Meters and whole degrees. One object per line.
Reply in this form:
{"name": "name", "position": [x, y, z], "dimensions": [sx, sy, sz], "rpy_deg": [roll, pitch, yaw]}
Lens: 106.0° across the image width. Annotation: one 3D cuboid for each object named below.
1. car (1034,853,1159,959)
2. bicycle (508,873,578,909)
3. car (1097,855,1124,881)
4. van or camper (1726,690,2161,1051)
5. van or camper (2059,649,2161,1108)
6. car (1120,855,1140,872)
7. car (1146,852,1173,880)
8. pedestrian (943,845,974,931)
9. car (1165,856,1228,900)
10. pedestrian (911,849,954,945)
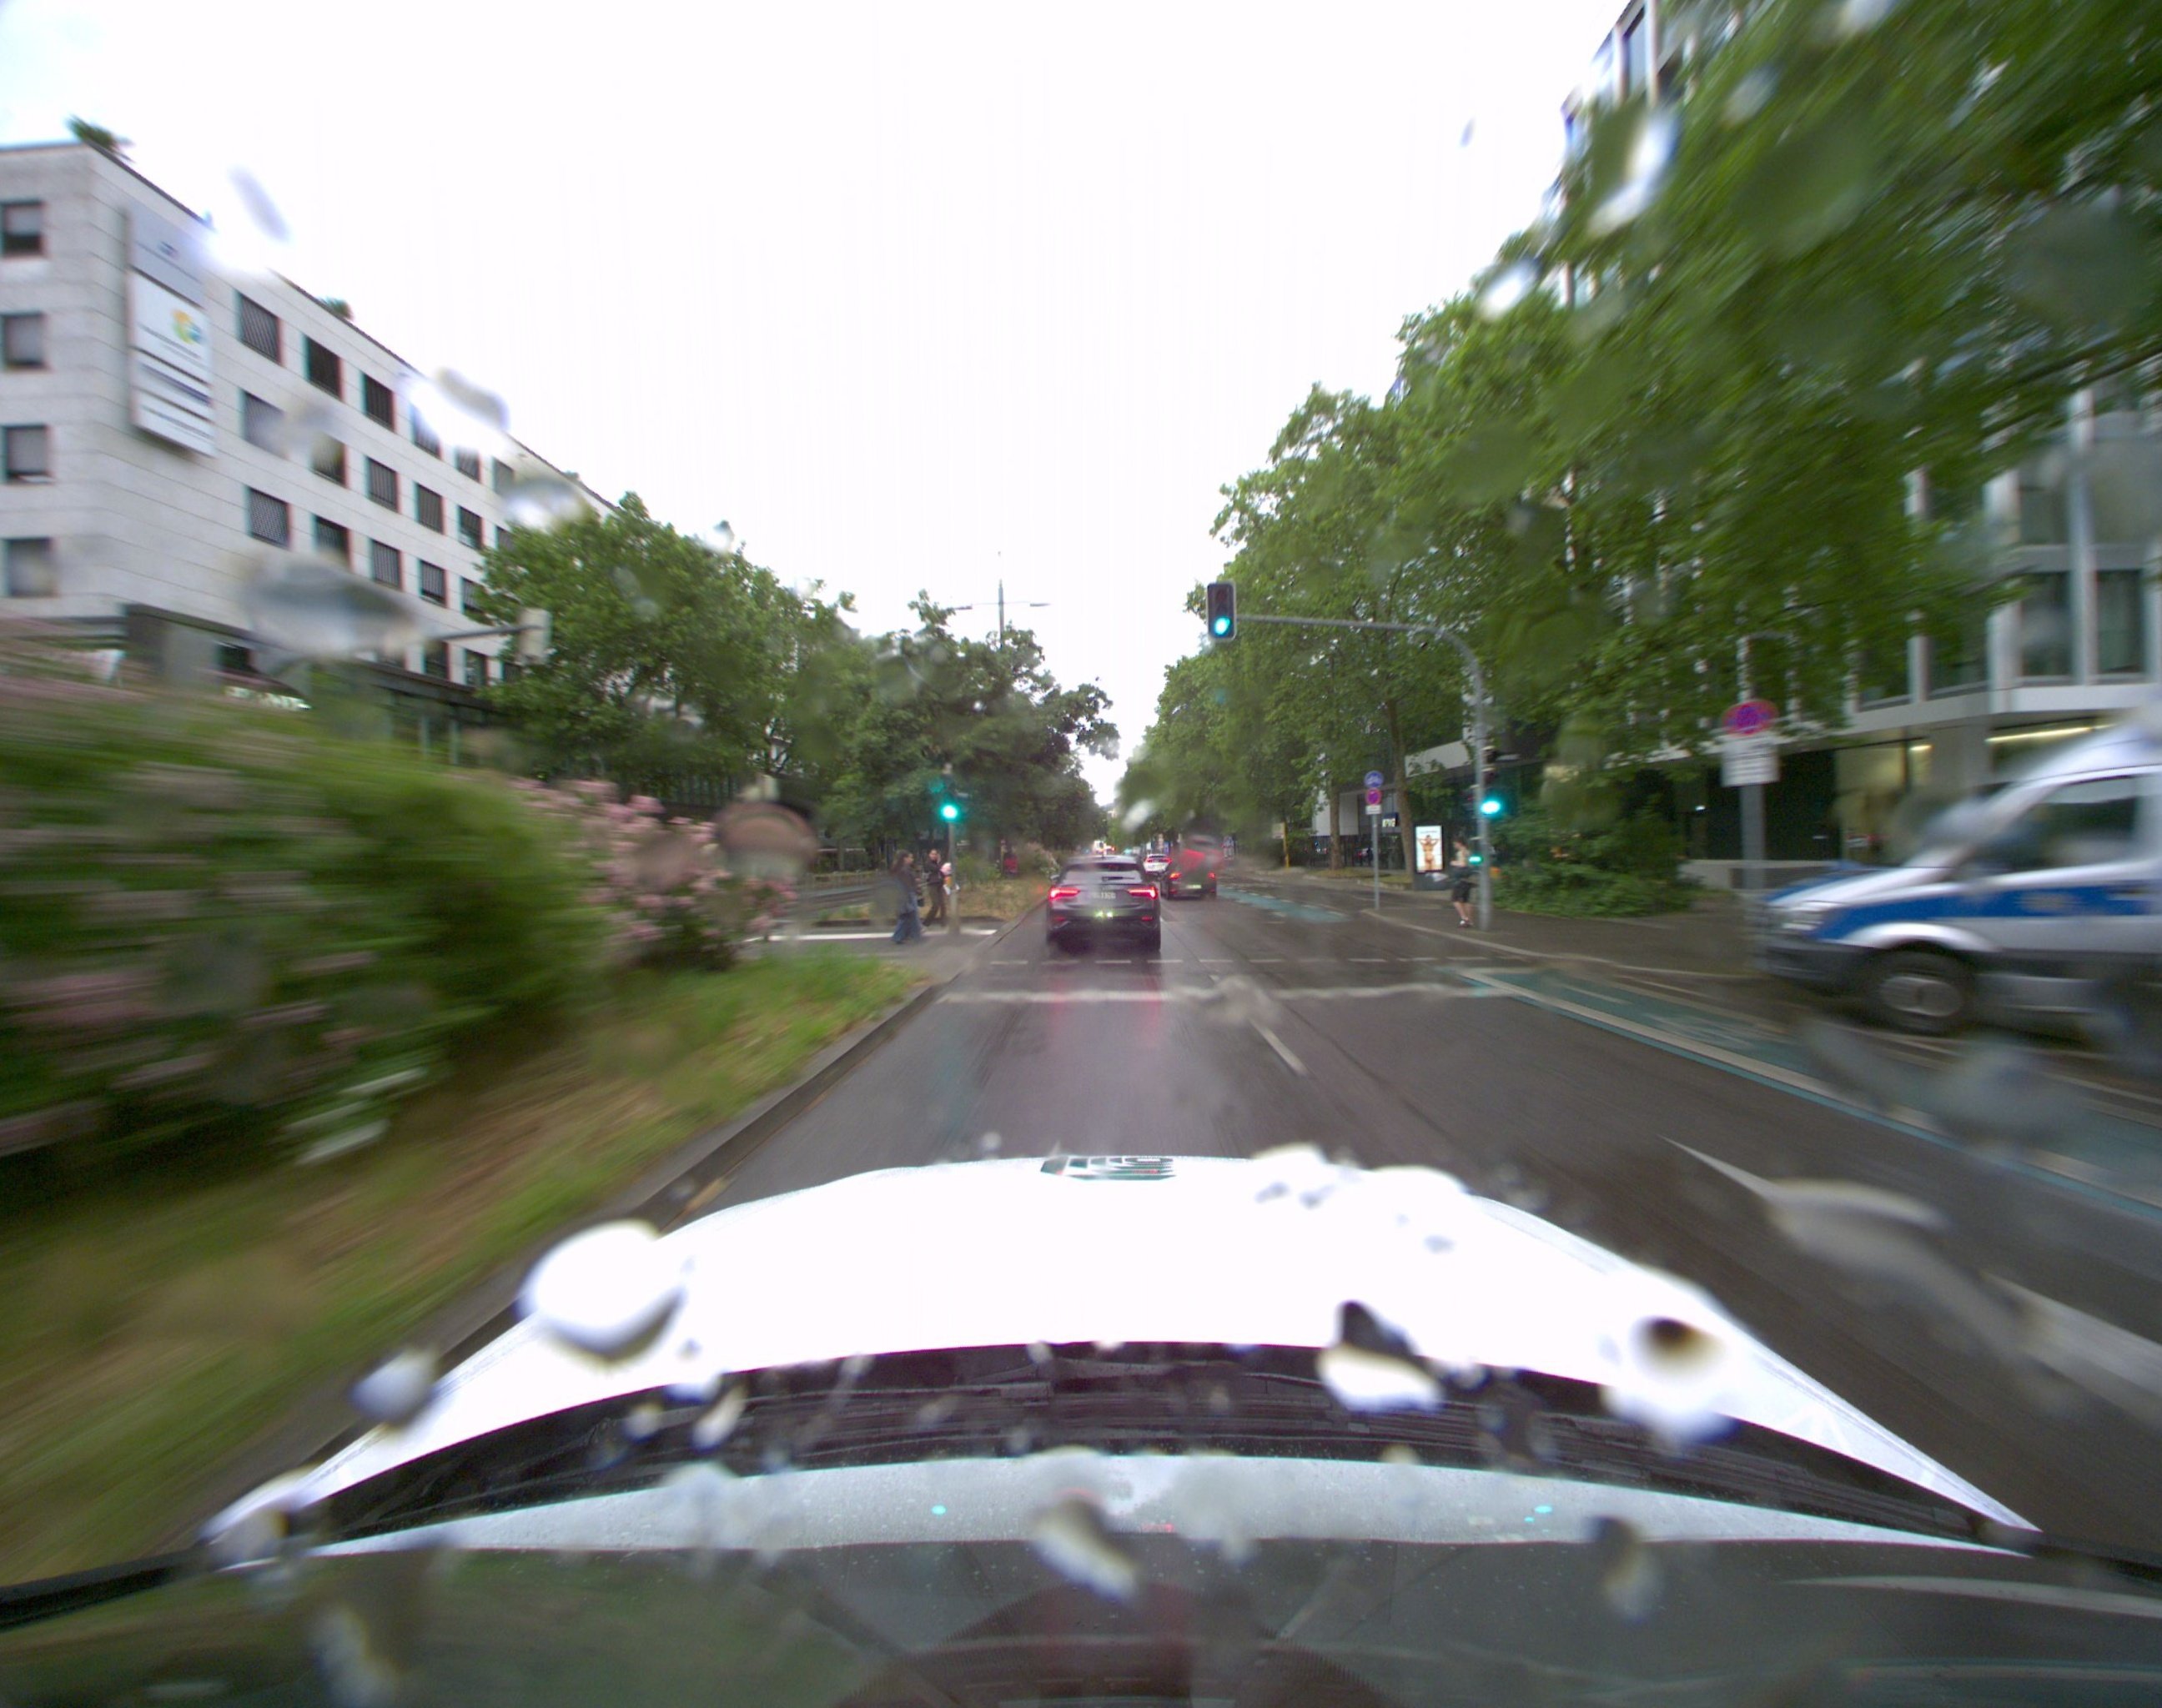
{"name": "car", "position": [0.347, 0.782, 14.504], "dimensions": [1.855, 1.532, 4.530], "rpy_deg": [-1, 0, 3]}
{"name": "bicycle", "position": [-17.650, 1.195, 26.744], "dimensions": [1.819, 1.097, 0.565], "rpy_deg": [-1, 0, -7]}
{"name": "car", "position": [1.950, 0.909, 54.056], "dimensions": [1.715, 1.577, 3.963], "rpy_deg": [-1, 0, 1]}
{"name": "van or camper", "position": [8.968, 0.106, 6.650], "dimensions": [5.741, 2.677, 2.161], "rpy_deg": [-1, 0, 39]}
{"name": "van or camper", "position": [8.894, 0.093, 3.433], "dimensions": [5.736, 2.680, 2.013], "rpy_deg": [-2, 0, 37]}
{"name": "car", "position": [5.304, 1.036, 88.163], "dimensions": [1.986, 1.750, 4.002], "rpy_deg": [-2, 0, 2]}
{"name": "car", "position": [4.878, 0.726, 50.631], "dimensions": [1.428, 1.685, 2.980], "rpy_deg": [-2, 0, 2]}
{"name": "pedestrian", "position": [-2.507, 0.684, 16.618], "dimensions": [0.573, 1.698, 0.403], "rpy_deg": [-1, 0, -11]}
{"name": "car", "position": [4.155, 0.833, 29.804], "dimensions": [1.759, 1.413, 4.001], "rpy_deg": [-2, 0, 1]}
{"name": "pedestrian", "position": [-2.616, 0.741, 14.356], "dimensions": [0.613, 1.642, 0.601], "rpy_deg": [-1, 0, -21]}
